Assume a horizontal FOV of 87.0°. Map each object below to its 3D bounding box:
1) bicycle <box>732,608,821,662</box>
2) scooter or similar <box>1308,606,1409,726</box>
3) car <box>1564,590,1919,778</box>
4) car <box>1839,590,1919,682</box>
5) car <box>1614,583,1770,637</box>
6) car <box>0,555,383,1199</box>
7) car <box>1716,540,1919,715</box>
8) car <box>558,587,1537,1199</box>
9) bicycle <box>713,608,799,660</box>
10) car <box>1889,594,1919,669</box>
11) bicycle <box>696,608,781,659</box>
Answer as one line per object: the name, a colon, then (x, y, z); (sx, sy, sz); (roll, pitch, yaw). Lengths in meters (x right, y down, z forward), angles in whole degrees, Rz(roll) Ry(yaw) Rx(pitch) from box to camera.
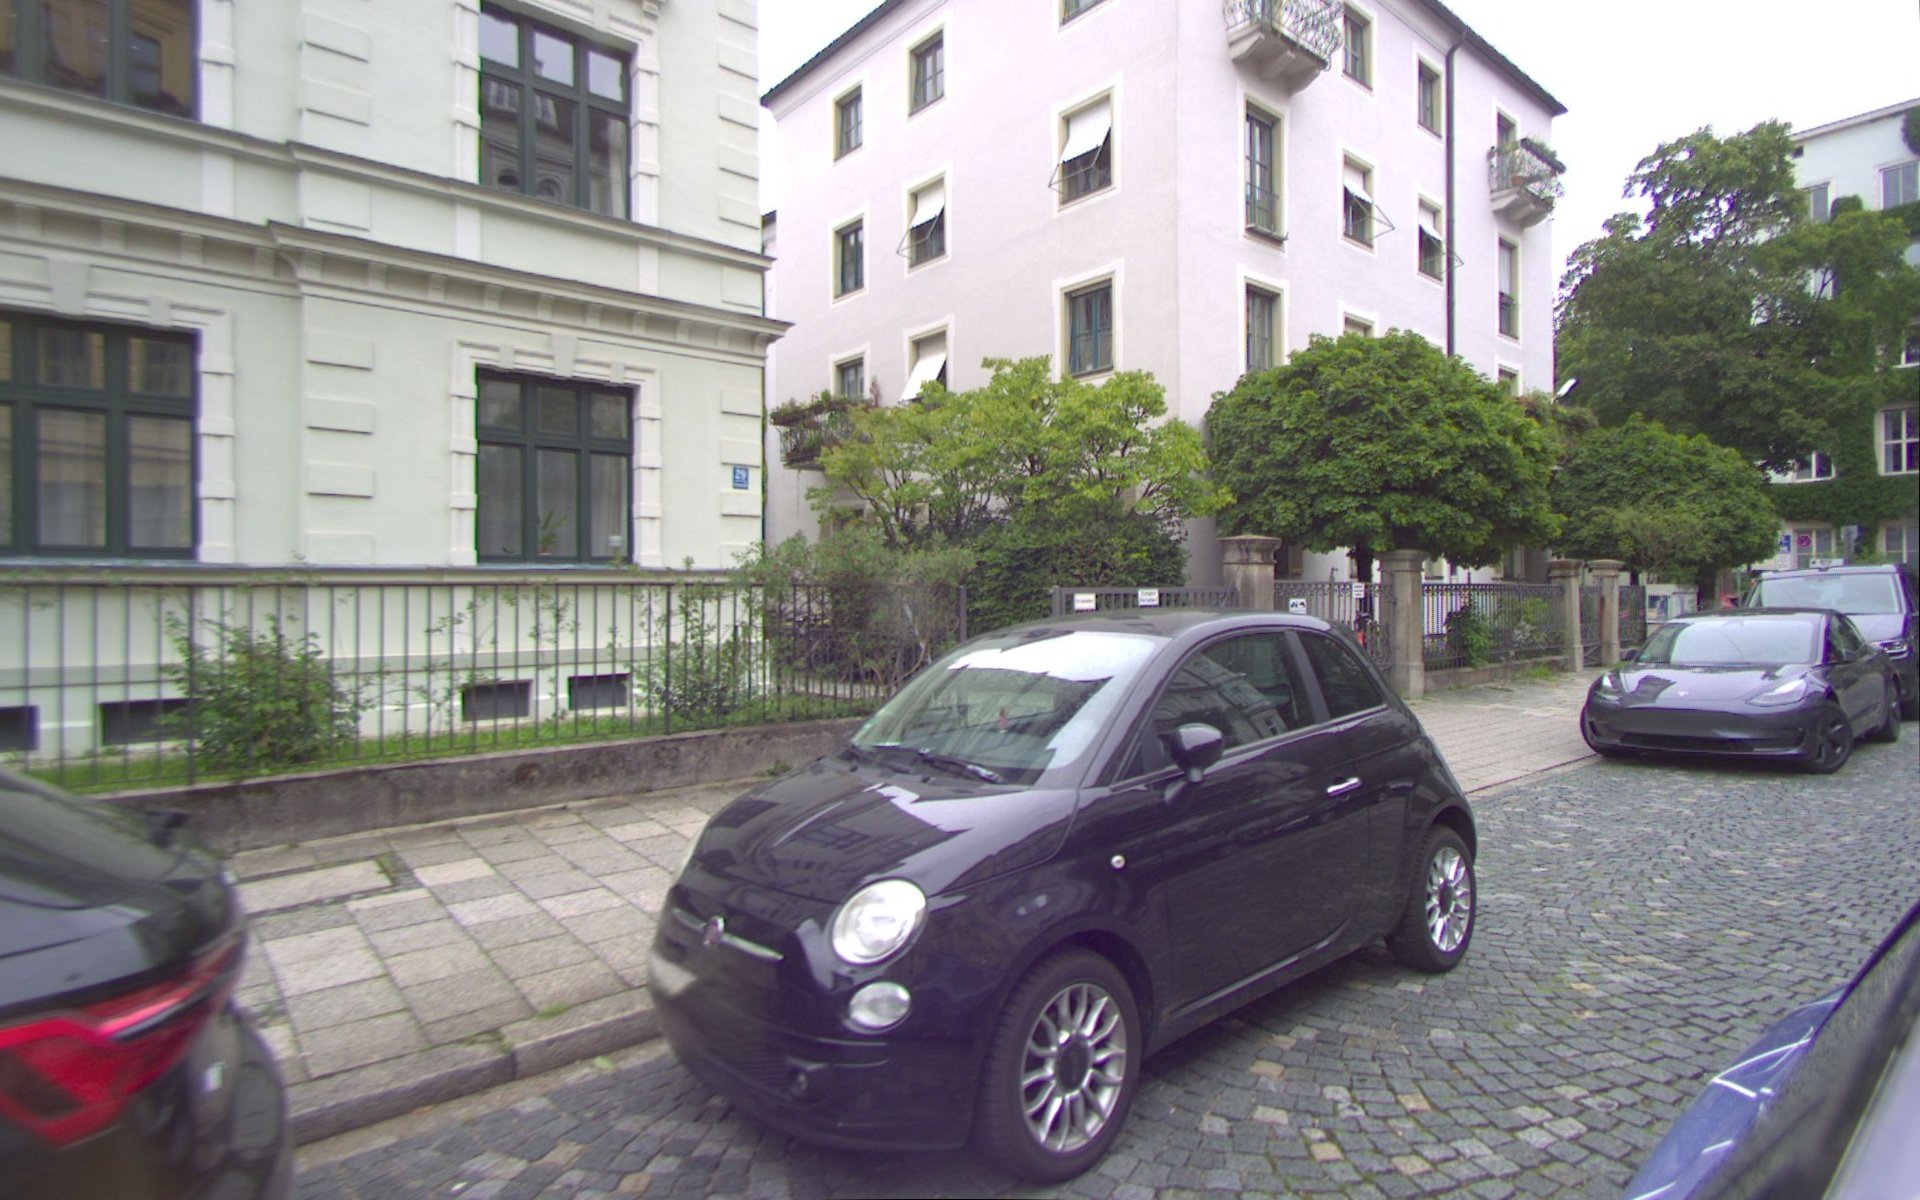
bicycle: (-3.958, 0.735, 21.880); (1.775, 1.021, 0.666); (-3, 3, -37)
scooter or similar: (4.609, 0.725, 11.669); (1.446, 1.230, 0.443); (-1, 5, -44)
car: (8.120, 0.687, 10.246); (4.449, 1.484, 1.941); (-1, -2, -38)
car: (16.284, 0.551, 16.966); (4.108, 1.392, 1.743); (-1, 1, -41)
car: (25.024, 0.353, 34.679); (1.868, 1.703, 3.991); (-1, -1, -42)
car: (-3.266, 0.778, 0.433); (5.015, 1.522, 1.908); (-1, -2, -40)
car: (12.253, 0.329, 13.890); (4.881, 1.995, 1.996); (-1, -3, -42)
car: (0.588, 0.763, 3.900); (3.621, 1.528, 1.669); (-1, -3, -41)
bicycle: (-4.539, 0.740, 22.583); (1.775, 1.021, 0.666); (-3, 3, -37)
car: (20.070, 0.595, 20.197); (4.206, 1.392, 1.743); (-1, 1, -40)
bicycle: (-5.057, 0.746, 23.135); (1.775, 1.021, 0.666); (-3, 3, -37)
